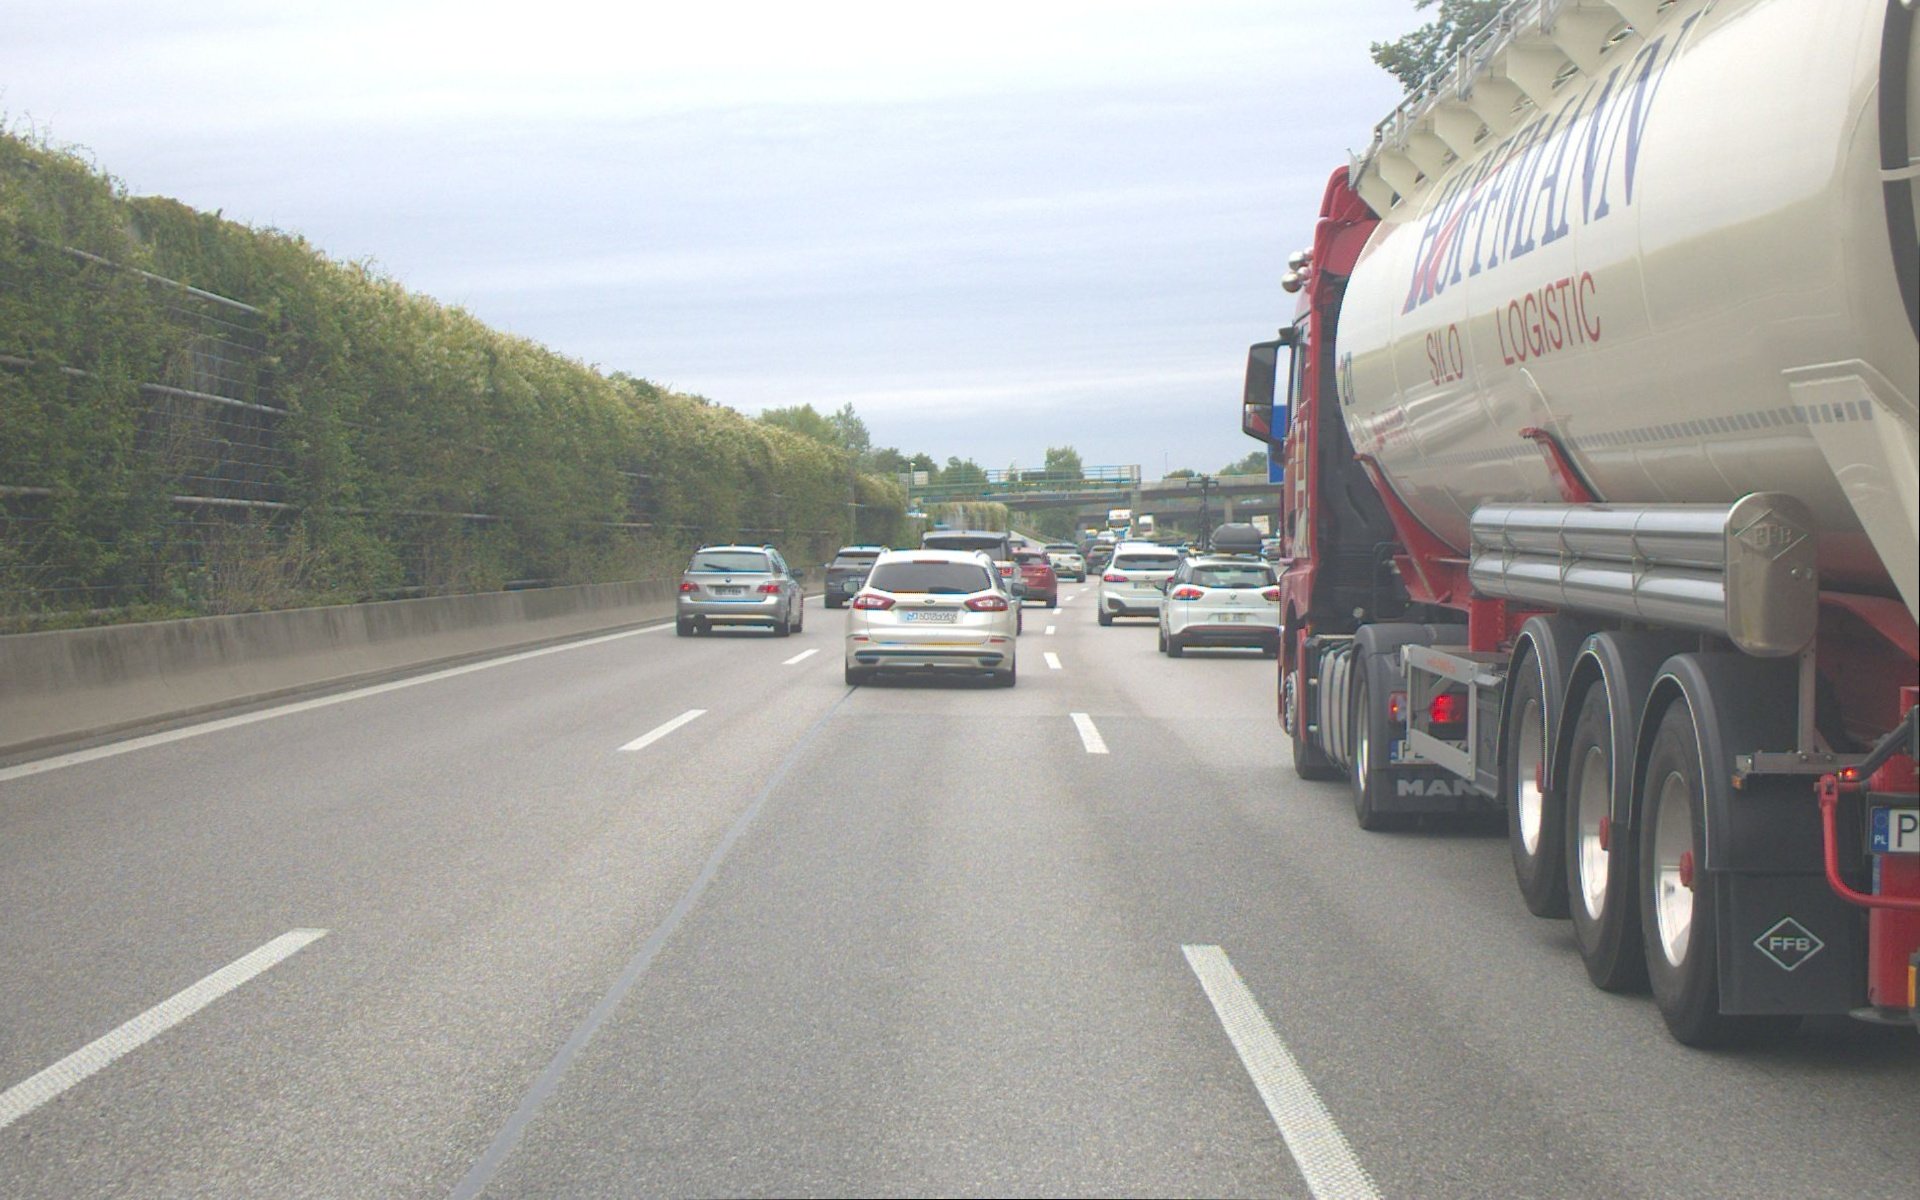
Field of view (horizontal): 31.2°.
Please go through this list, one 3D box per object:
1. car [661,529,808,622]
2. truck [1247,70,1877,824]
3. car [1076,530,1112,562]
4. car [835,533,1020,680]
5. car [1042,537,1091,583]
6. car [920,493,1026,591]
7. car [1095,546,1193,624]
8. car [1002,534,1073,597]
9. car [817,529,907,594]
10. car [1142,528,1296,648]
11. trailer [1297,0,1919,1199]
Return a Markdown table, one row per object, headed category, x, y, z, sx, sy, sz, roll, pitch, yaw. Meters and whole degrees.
| category | x | y | z | sx | sy | sz | roll | pitch | yaw |
| --- | --- | --- | --- | --- | --- | --- | --- | --- | --- |
| car | -3.677 | -0.387 | 56.915 | 1.720 | 1.464 | 5.029 | 0 | 0 | 5 |
| truck | 3.386 | -0.823 | 21.062 | 2.695 | 3.899 | 6.556 | 0 | 0 | 0 |
| car | 6.491 | -2.632 | 166.510 | 1.689 | 1.534 | 3.871 | 0 | 1 | 2 |
| car | -0.325 | 0.030 | 38.165 | 1.892 | 1.499 | 5.030 | 1 | 1 | 0 |
| car | 4.154 | -1.559 | 134.082 | 1.790 | 1.773 | 3.871 | -1 | 1 | 3 |
| car | 0.226 | -1.034 | 59.489 | 1.689 | 1.501 | 3.872 | 4 | 2 | 0 |
| car | 3.602 | -0.300 | 67.809 | 1.689 | 1.501 | 3.871 | 0 | 1 | -1 |
| car | 1.892 | -0.868 | 84.505 | 1.689 | 1.501 | 3.871 | 0 | 1 | 1 |
| car | -2.309 | -0.934 | 82.361 | 1.720 | 1.507 | 5.030 | 0 | 1 | 3 |
| car | 3.630 | -0.199 | 48.906 | 1.816 | 1.620 | 5.030 | 0 | 1 | 0 |
| trailer | 3.392 | -0.673 | 14.000 | 2.668 | 3.925 | 13.130 | 0 | 1 | 0 |
